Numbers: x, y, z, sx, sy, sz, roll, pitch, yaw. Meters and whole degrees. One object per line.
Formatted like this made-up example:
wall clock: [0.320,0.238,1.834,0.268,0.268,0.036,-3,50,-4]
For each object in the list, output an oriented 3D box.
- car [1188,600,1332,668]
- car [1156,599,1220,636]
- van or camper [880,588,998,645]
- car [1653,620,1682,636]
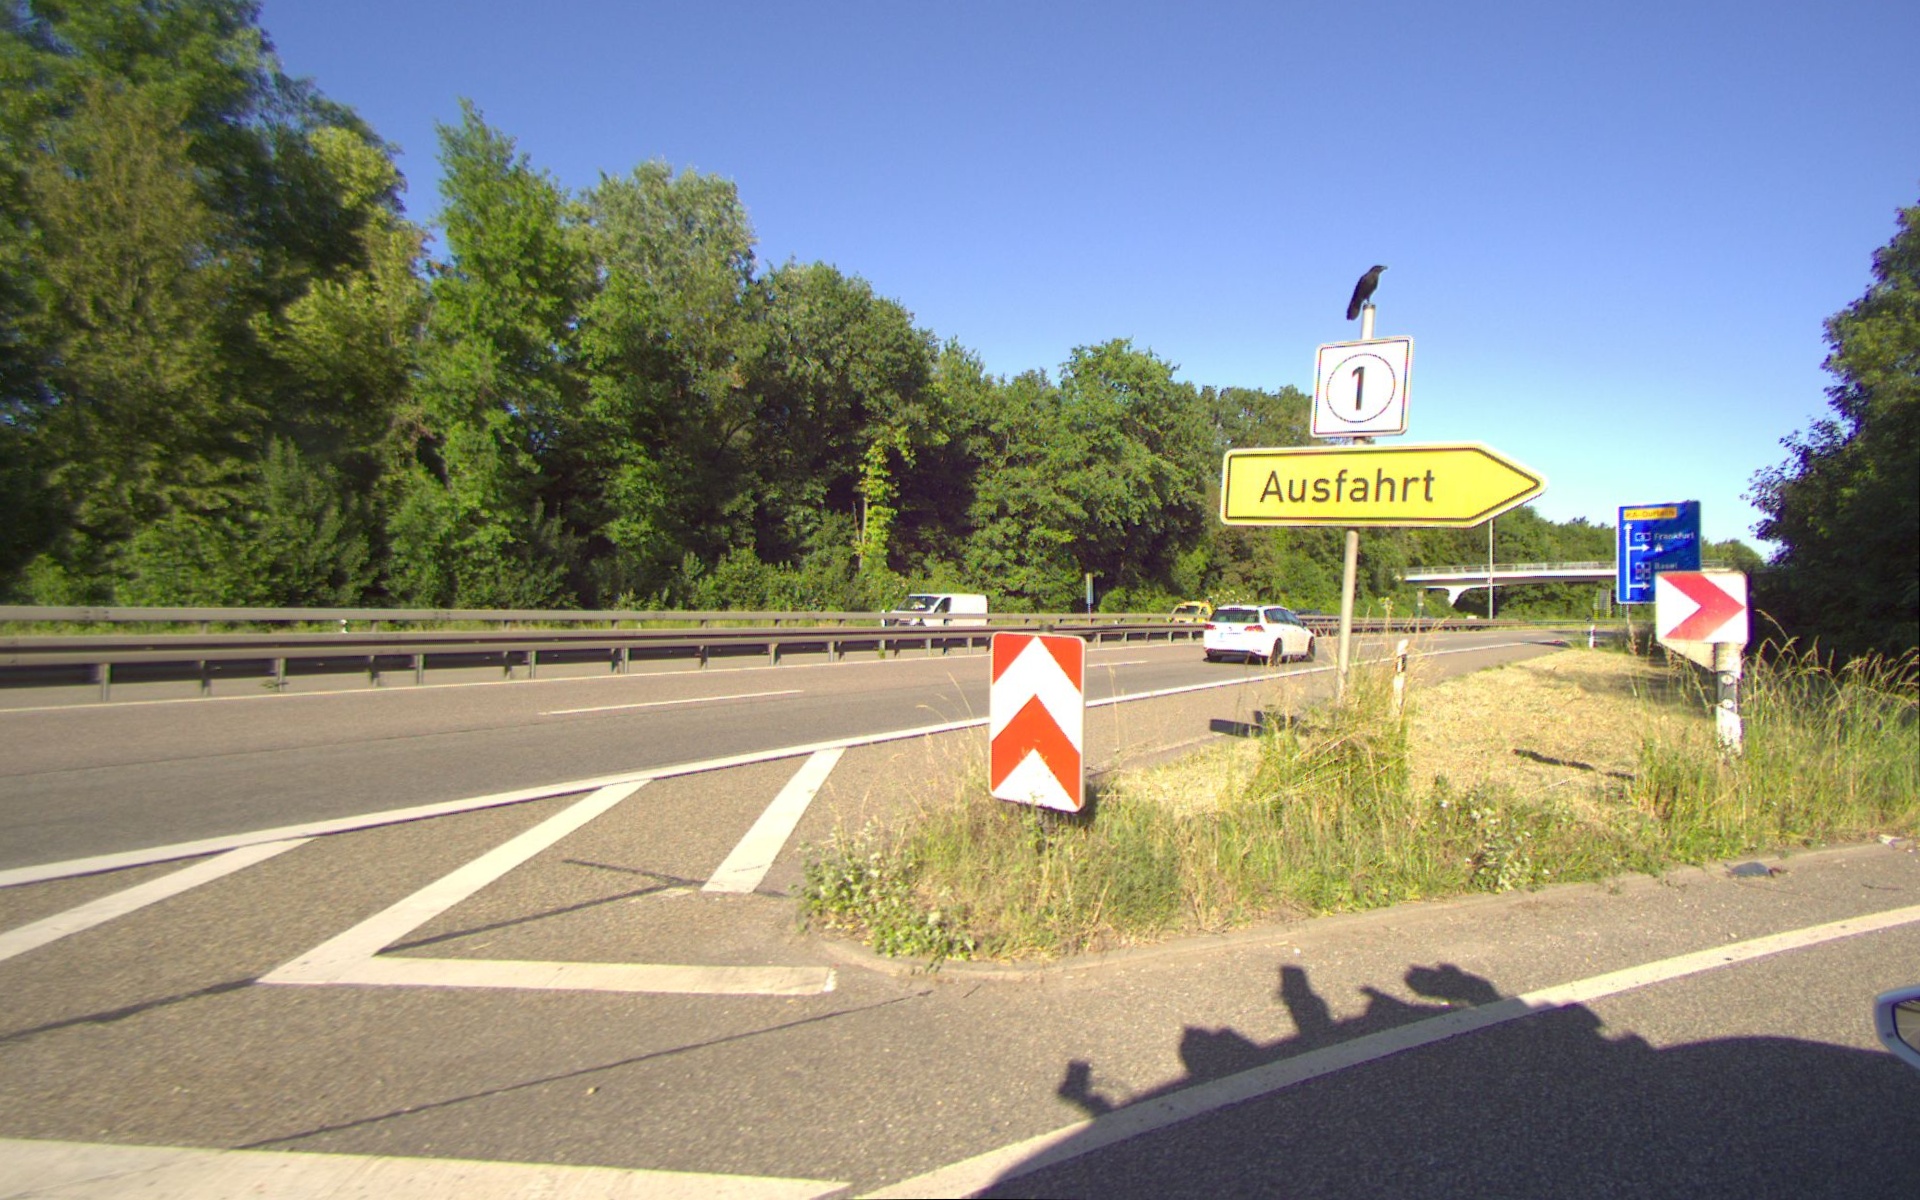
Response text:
car: [7.871,0.844,25.923,1.903,1.528,5.582,2,0,35]
car: [13.154,1.012,57.805,1.970,2.040,3.981,0,-1,40]
van or camper: [-0.718,0.643,38.724,2.047,2.040,4.801,0,-1,37]
car: [73.022,2.885,103.684,3.917,1.684,1.723,1,-1,-43]
